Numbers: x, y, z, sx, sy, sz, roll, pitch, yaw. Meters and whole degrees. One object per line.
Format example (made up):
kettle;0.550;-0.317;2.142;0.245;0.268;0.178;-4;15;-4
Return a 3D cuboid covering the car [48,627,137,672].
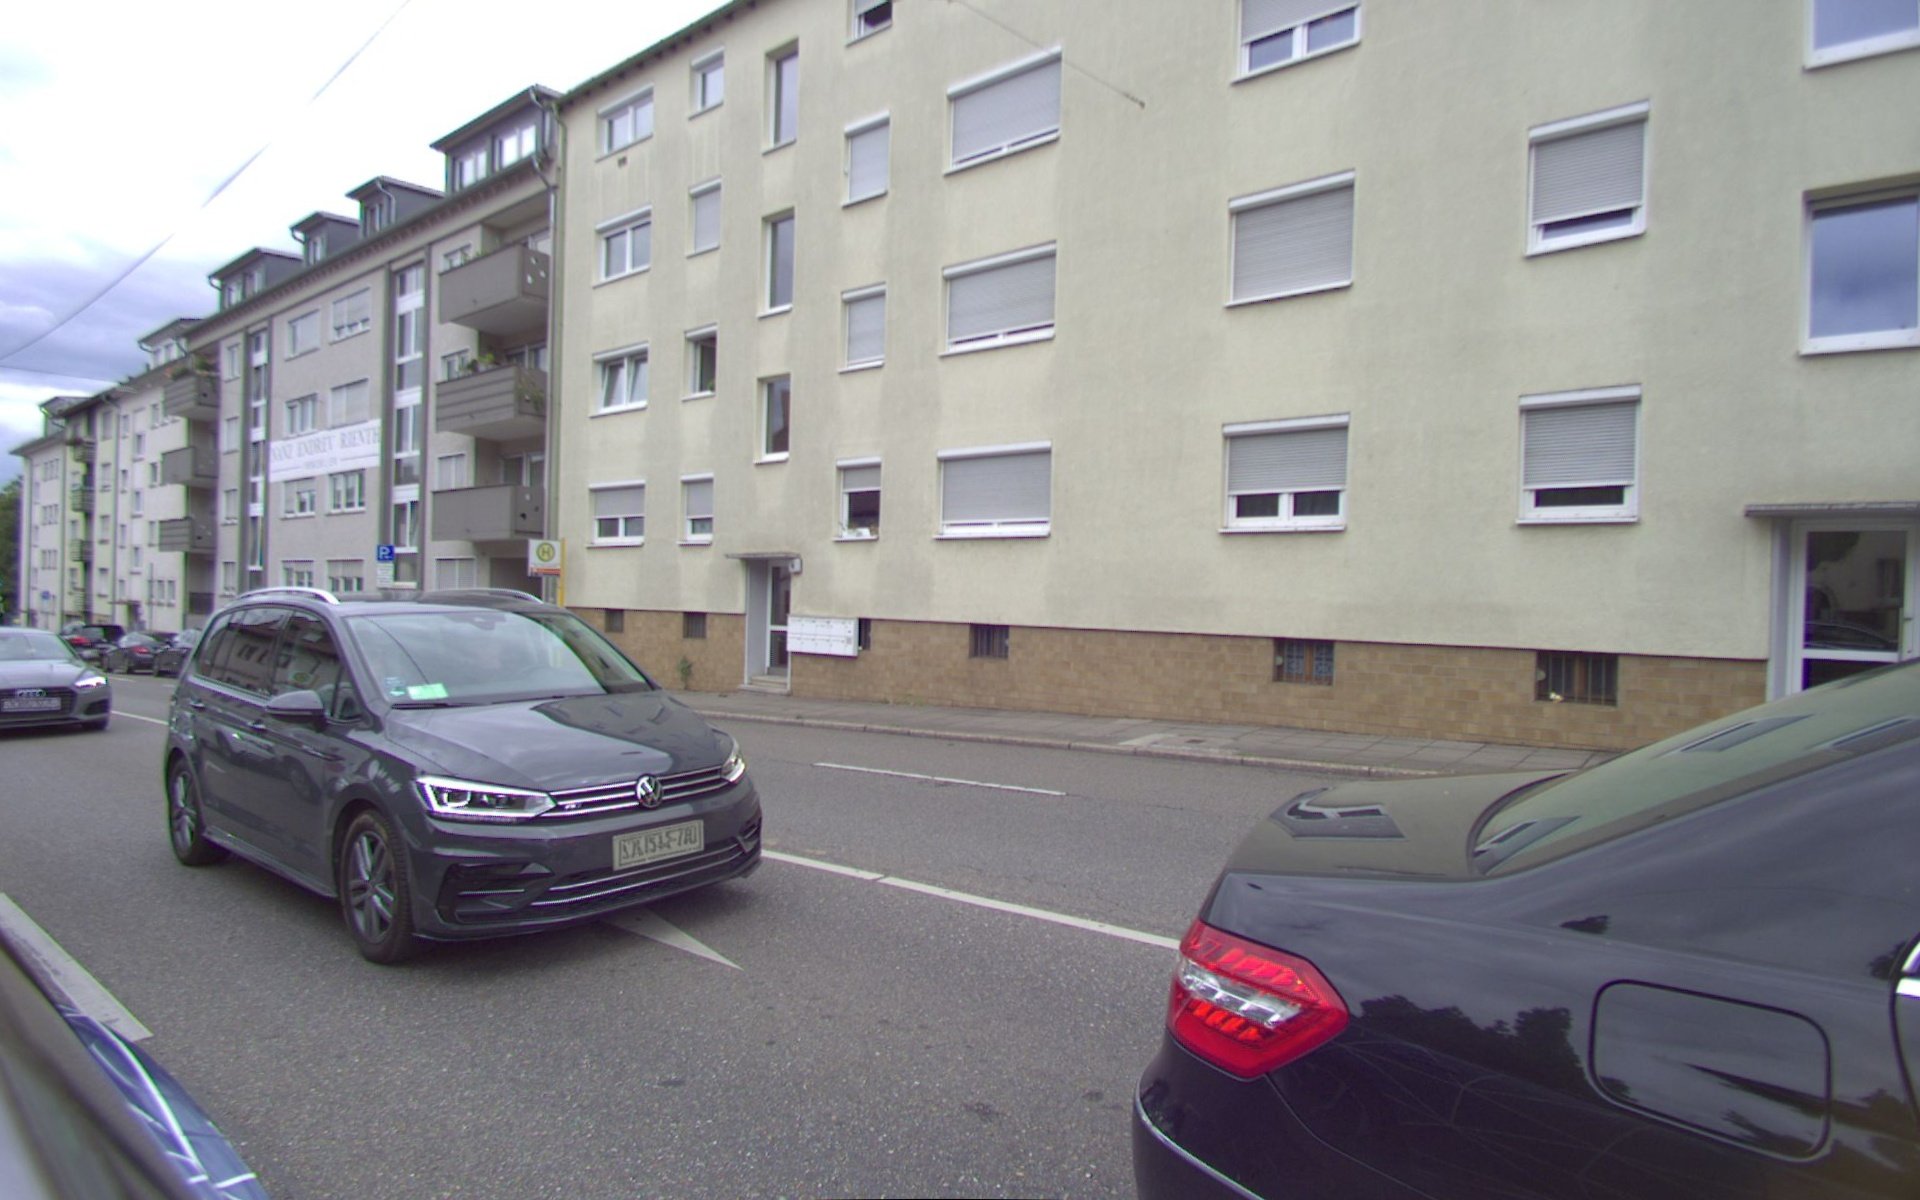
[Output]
car;-33.147;1.875;38.647;3.533;1.613;1.755;-1;-3;36

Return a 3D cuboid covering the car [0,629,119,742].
car;-12.899;1.075;13.731;4.148;1.365;1.856;-2;-2;44

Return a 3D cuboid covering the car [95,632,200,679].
car;-26.246;1.756;32.670;3.533;1.414;1.755;-1;-3;36

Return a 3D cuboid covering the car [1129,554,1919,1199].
car;2.721;0.647;0.674;4.840;1.439;1.973;-2;-1;41

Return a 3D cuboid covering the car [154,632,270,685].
car;-21.457;1.645;29.007;3.533;1.386;1.649;-1;-3;36

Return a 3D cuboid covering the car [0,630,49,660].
car;-46.183;2.171;49.414;3.752;1.414;1.755;-1;-3;36

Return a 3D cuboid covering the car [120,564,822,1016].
car;-3.013;0.696;5.757;4.474;1.623;1.840;-1;0;38

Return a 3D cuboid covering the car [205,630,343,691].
car;-17.594;1.510;25.921;3.680;1.422;1.755;-1;-3;36
